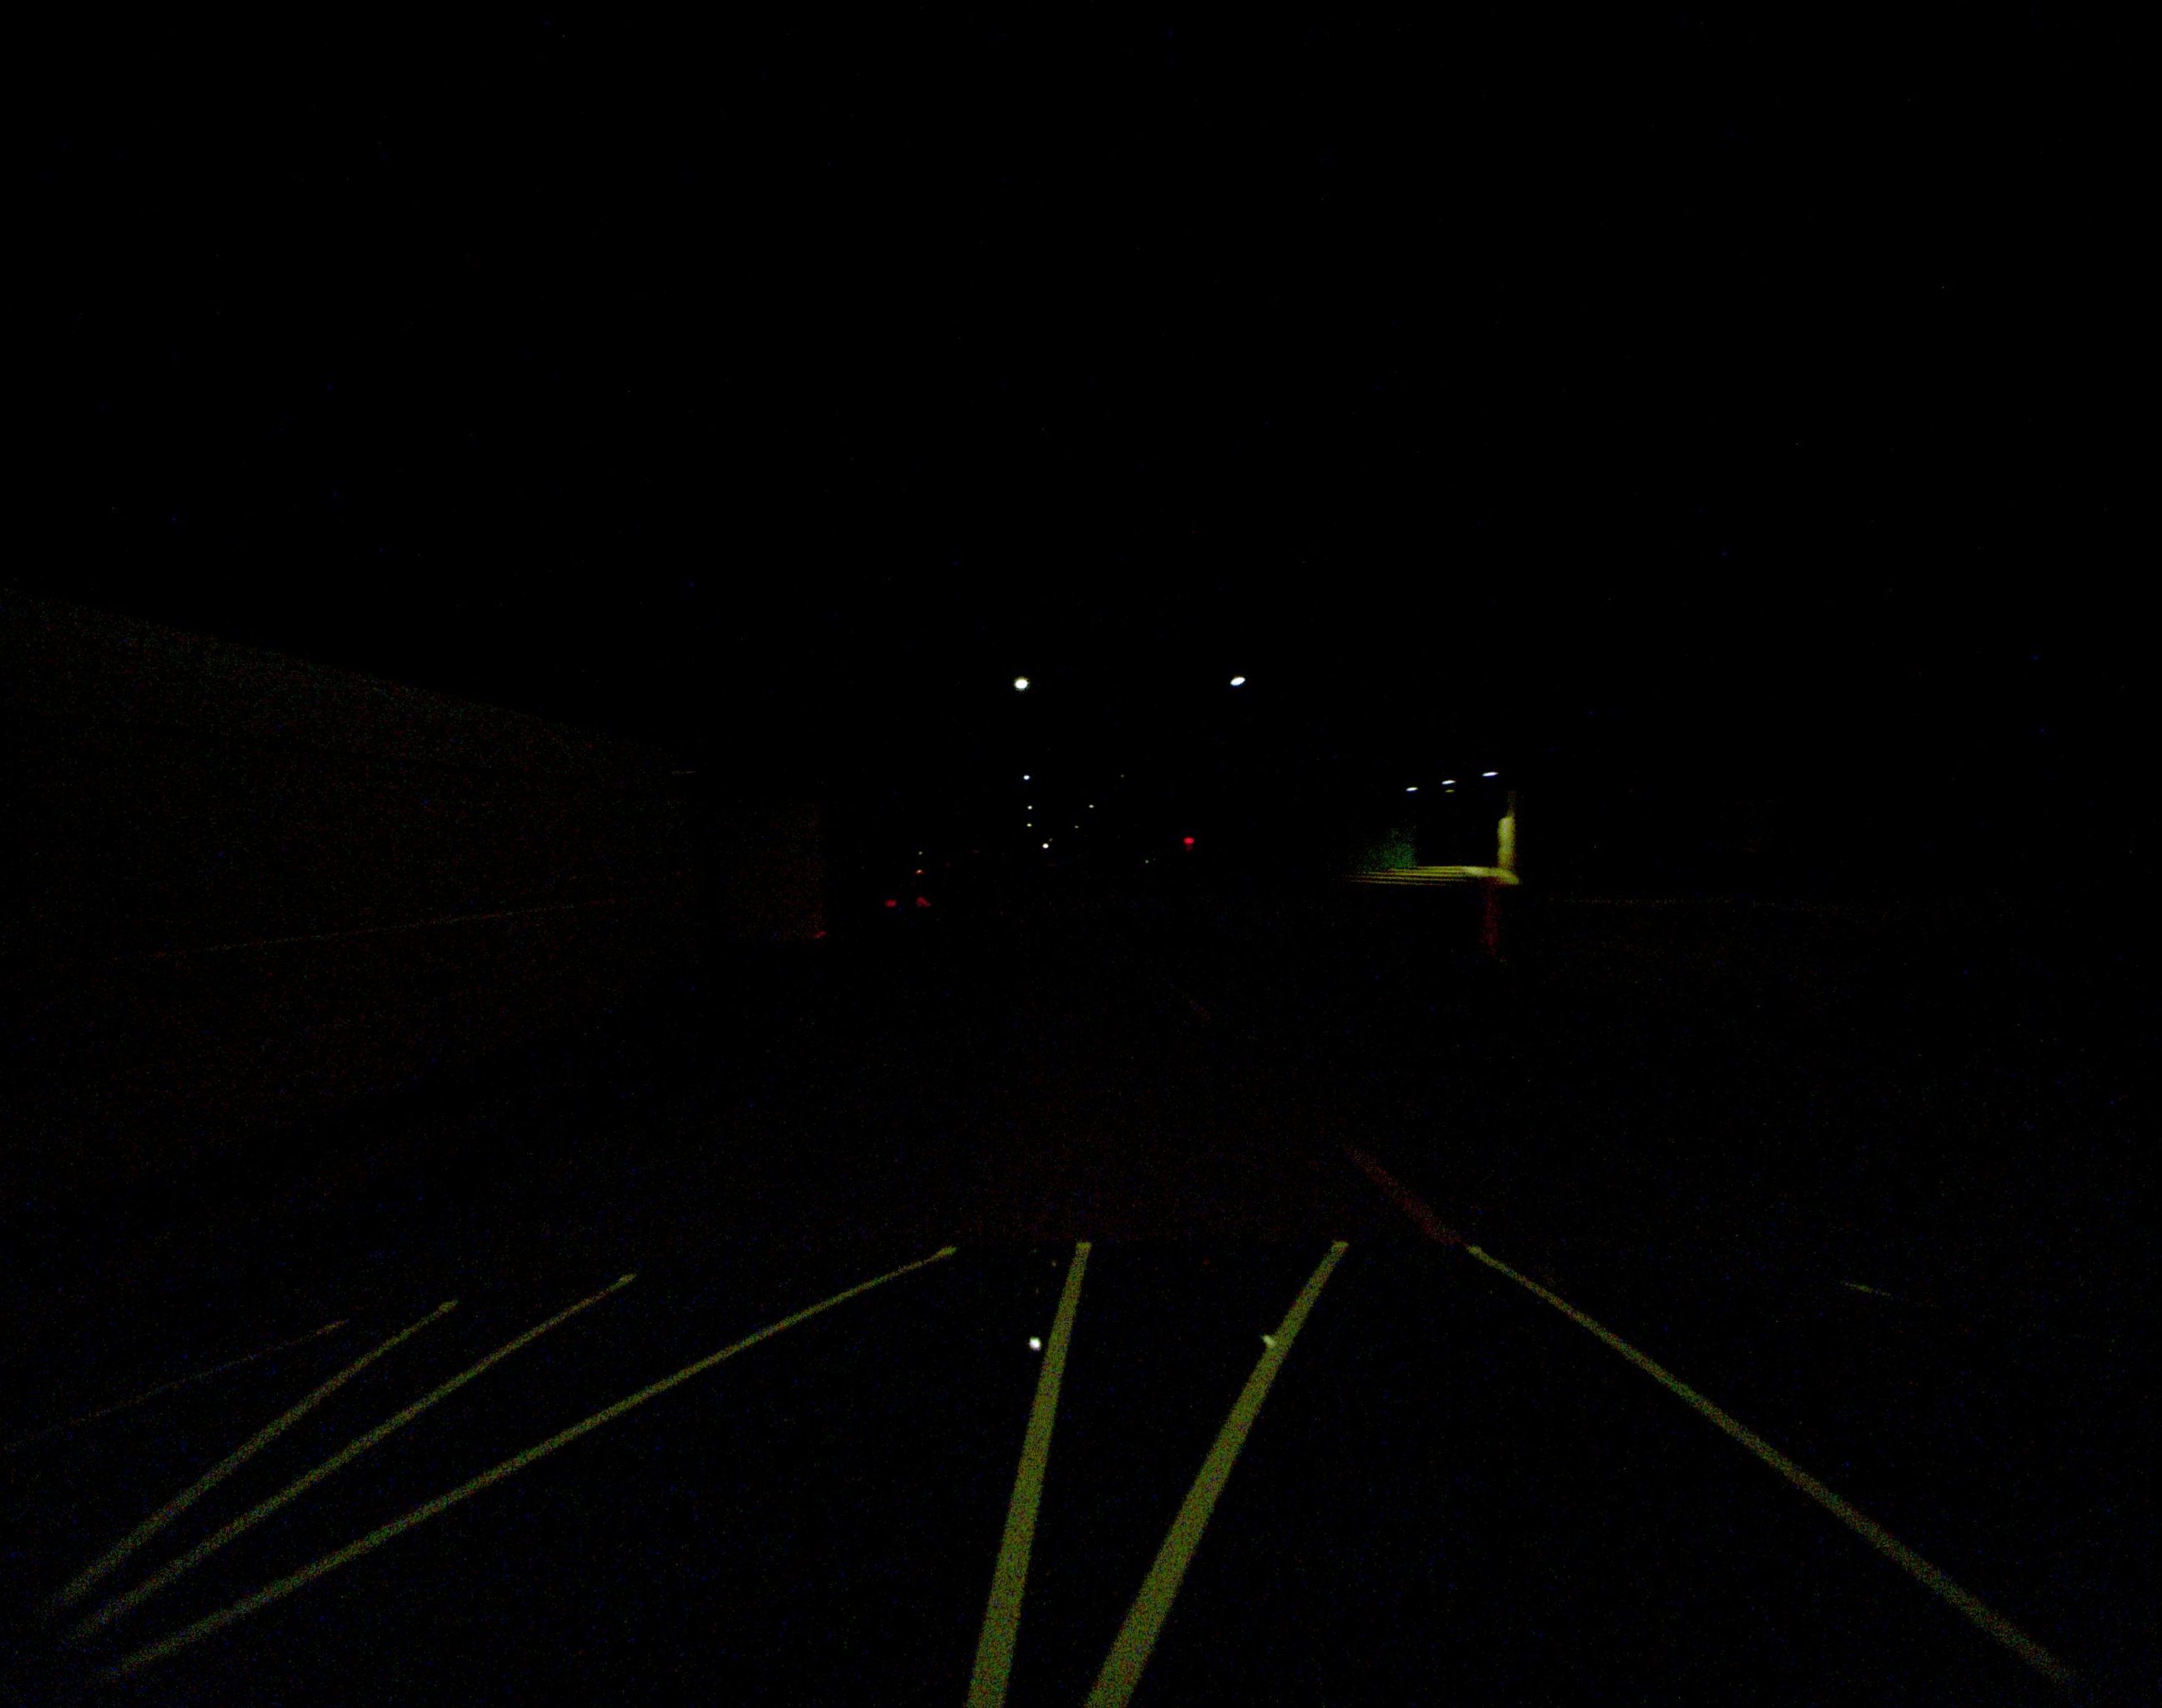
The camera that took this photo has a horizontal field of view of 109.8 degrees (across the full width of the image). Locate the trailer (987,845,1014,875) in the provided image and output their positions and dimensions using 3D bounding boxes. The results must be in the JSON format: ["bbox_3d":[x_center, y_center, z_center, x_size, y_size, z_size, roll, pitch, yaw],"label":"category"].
[{"bbox_3d":[-7.270,0.575,68.924,1.999,2.635,4.000,-1,-1,0],"label":"trailer"}]

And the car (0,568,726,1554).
[{"bbox_3d":[-3.814,0.548,2.759,2.114,2.501,6.372,-1,-1,-1],"label":"car"}]

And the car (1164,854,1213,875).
[{"bbox_3d":[10.684,1.036,75.620,4.444,1.960,2.000,-1,-1,-4],"label":"car"}]

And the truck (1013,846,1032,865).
[{"bbox_3d":[-11.890,0.404,155.972,2.515,3.814,12.661,-1,-1,1],"label":"truck"}]

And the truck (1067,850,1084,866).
[{"bbox_3d":[-1.355,1.034,176.573,2.830,3.609,10.396,-1,-1,-7],"label":"truck"}]

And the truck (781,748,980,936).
[{"bbox_3d":[-4.732,-0.222,20.307,3.333,3.845,9.325,-1,0,-3],"label":"truck"}]

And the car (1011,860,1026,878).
[{"bbox_3d":[-9.028,2.210,110.433,1.946,2.532,6.645,-1,-1,-3],"label":"car"}]

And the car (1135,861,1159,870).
[{"bbox_3d":[11.685,2.050,135.019,3.999,1.454,1.805,-3,0,-6],"label":"car"}]

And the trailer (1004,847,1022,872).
[{"bbox_3d":[-9.339,0.831,104.064,2.405,3.305,4.360,-1,-1,-6],"label":"trailer"}]

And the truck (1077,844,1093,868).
[{"bbox_3d":[0.727,0.368,147.583,2.645,4.289,12.822,2,0,-1],"label":"truck"}]

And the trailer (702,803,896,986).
[{"bbox_3d":[-4.425,0.585,12.804,1.636,2.459,5.027,-1,-1,-3],"label":"trailer"}]
